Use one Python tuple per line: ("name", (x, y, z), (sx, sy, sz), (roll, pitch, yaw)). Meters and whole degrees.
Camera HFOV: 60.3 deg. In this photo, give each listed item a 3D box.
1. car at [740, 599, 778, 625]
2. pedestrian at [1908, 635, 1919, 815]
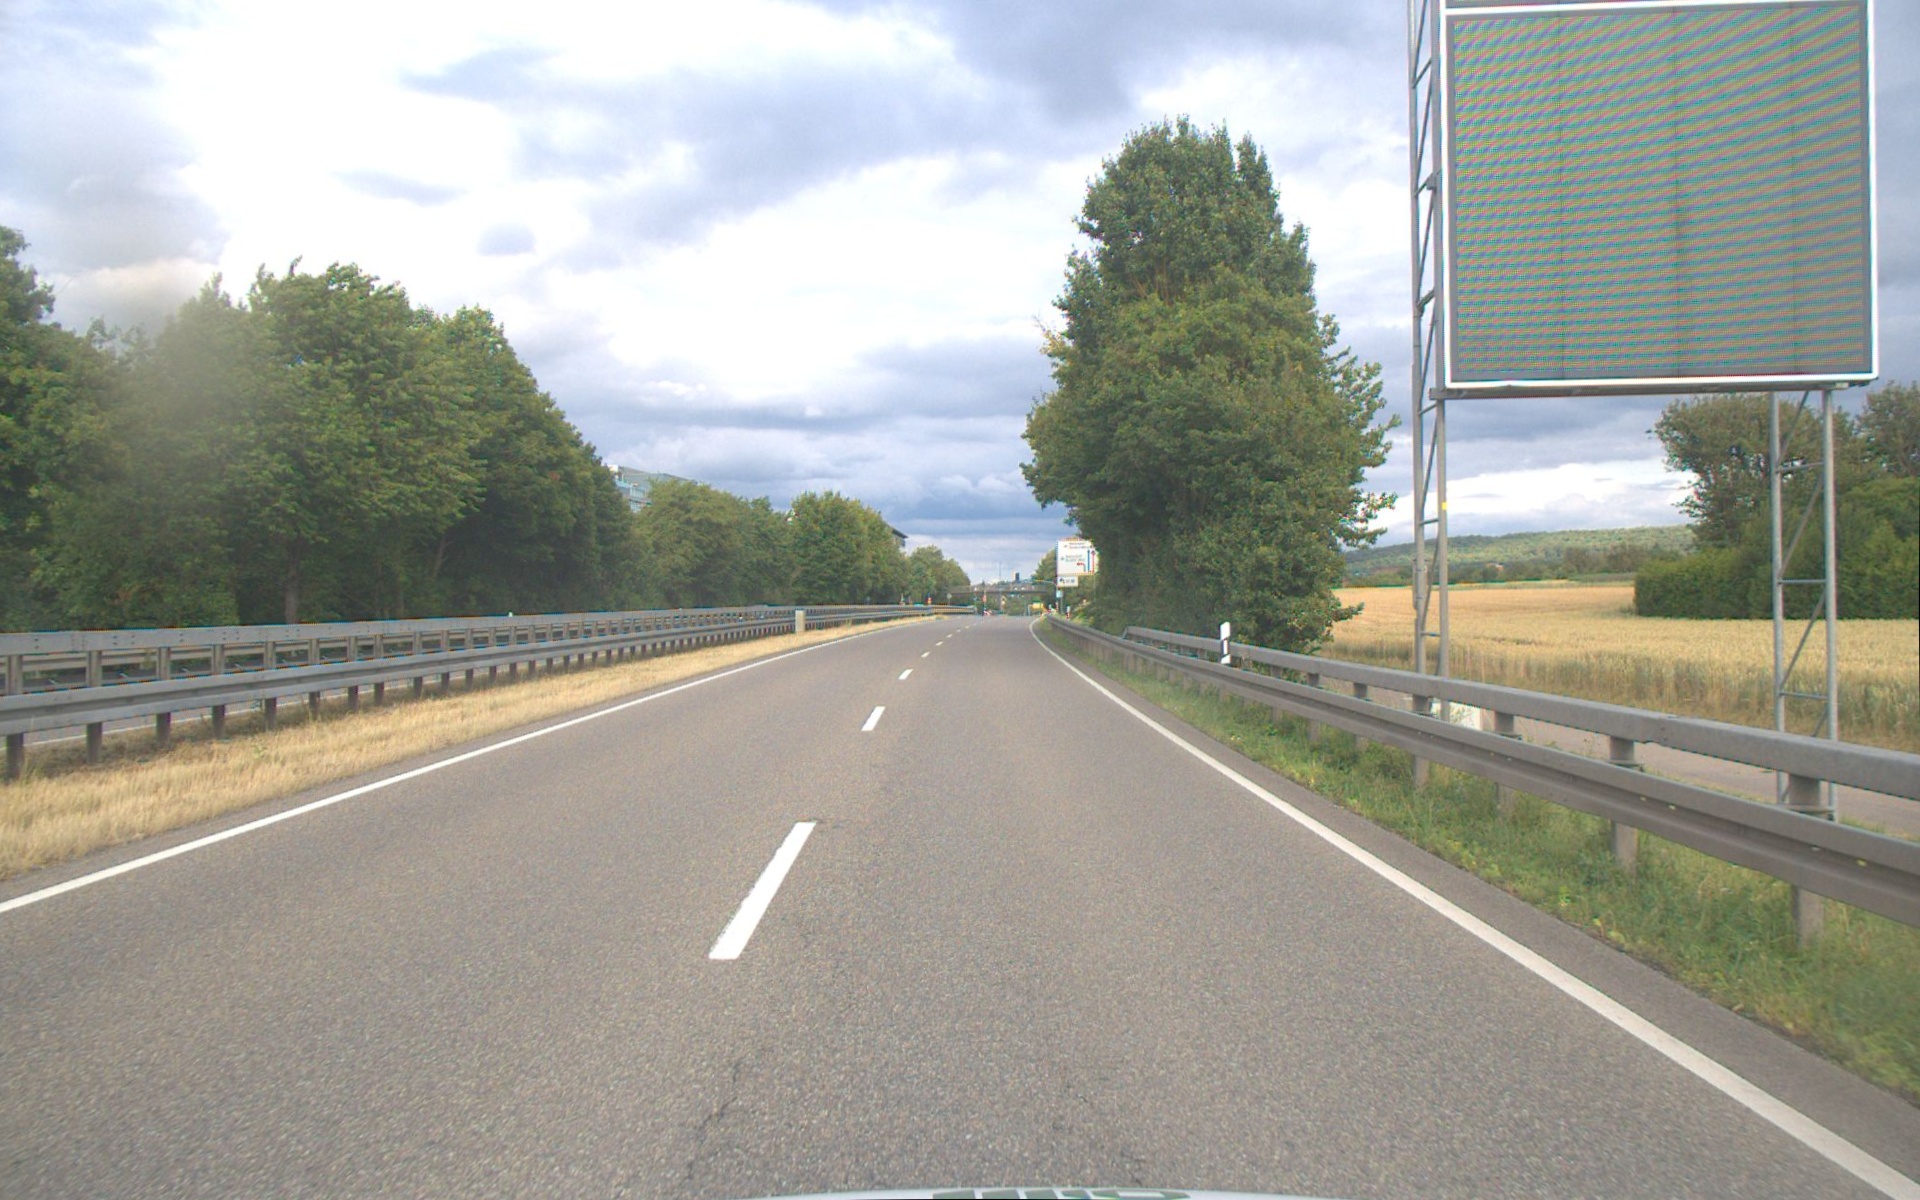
("car", (-12.965, 0.785, 106.729), (1.787, 1.571, 4.588), (-2, 0, 1))
("pedestrian", (10.596, 1.337, 17.321), (0.755, 1.900, 0.940), (1, -1, -1))
